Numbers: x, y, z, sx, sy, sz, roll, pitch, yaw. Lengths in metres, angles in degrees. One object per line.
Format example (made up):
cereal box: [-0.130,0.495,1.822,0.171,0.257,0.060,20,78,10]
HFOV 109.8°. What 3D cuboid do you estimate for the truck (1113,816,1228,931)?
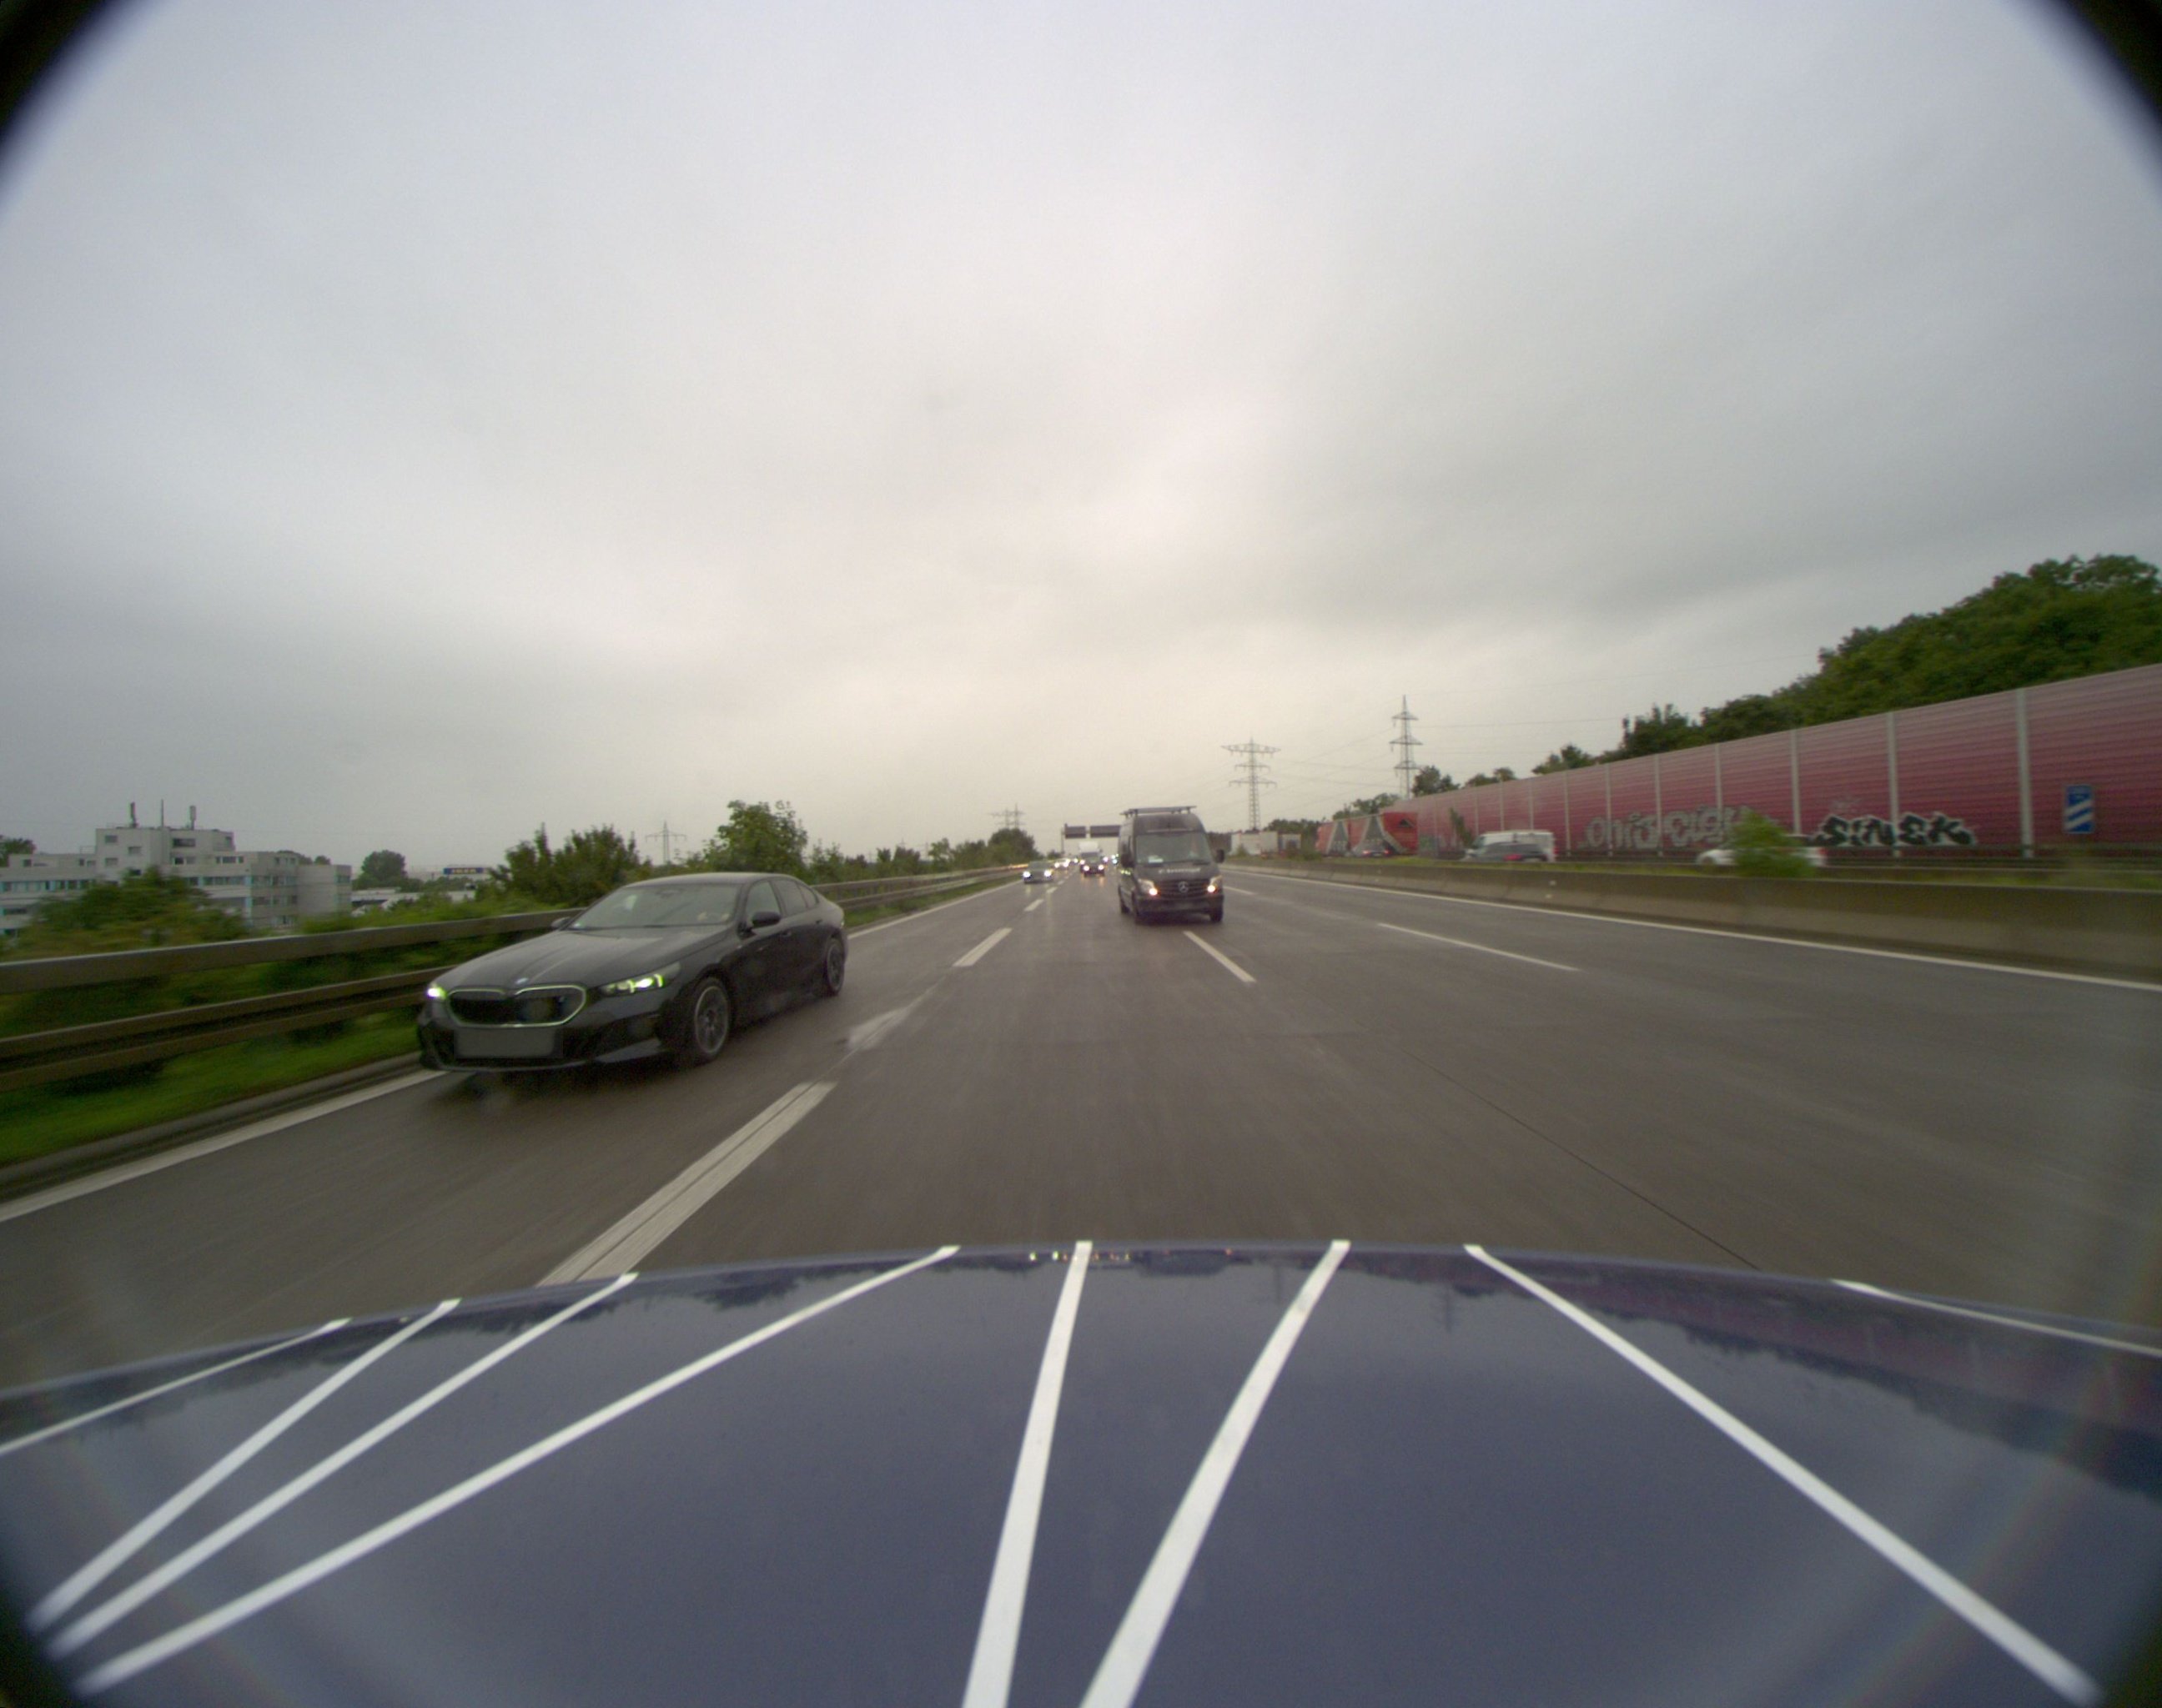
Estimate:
truck: [2.014,0.386,19.010,1.999,2.324,6.110,-3,1,-1]

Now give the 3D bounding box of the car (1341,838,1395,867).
car: [20.181,-0.120,53.692,1.999,1.848,4.389,-3,0,-2]

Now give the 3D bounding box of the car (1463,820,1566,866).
car: [19.754,-0.474,34.878,2.031,1.746,4.442,-7,0,1]

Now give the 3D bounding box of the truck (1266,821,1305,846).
truck: [29.254,-2.848,109.096,2.948,3.229,9.378,-4,0,1]

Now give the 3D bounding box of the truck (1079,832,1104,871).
truck: [1.043,-0.261,75.935,2.392,3.657,4.987,-1,0,1]

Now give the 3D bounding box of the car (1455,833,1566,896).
car: [15.797,0.370,28.153,1.869,2.002,3.652,-7,0,1]

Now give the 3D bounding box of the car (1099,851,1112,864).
car: [4.011,0.575,126.301,1.998,1.935,4.000,-1,0,1]

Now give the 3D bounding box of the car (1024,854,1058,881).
car: [-2.678,0.882,51.841,1.998,1.706,4.000,-1,0,1]

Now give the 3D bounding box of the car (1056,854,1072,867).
car: [-2.211,0.828,100.110,1.998,1.706,4.000,-1,0,1]

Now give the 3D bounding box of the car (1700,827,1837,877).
car: [26.931,-0.084,29.960,1.742,1.641,3.915,-7,0,1]

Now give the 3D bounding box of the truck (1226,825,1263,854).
truck: [17.107,-1.469,79.786,2.272,2.812,7.279,-4,0,1]

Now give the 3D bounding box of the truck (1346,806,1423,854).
truck: [24.268,-1.828,61.373,2.787,3.470,8.493,-3,0,1]

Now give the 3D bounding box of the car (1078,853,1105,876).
car: [0.823,0.759,58.789,1.998,1.706,4.000,-1,0,1]

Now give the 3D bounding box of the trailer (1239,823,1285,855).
trailer: [25.304,-1.993,107.187,3.054,4.004,14.125,-4,0,1]

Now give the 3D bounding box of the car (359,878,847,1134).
car: [-3.819,1.073,7.143,1.862,1.531,4.203,-2,0,0]

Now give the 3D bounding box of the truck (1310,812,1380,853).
truck: [24.410,-1.886,70.939,2.787,3.470,10.617,-3,0,1]

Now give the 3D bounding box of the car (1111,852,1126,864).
car: [5.455,0.613,110.129,1.998,1.706,4.000,-1,0,1]
